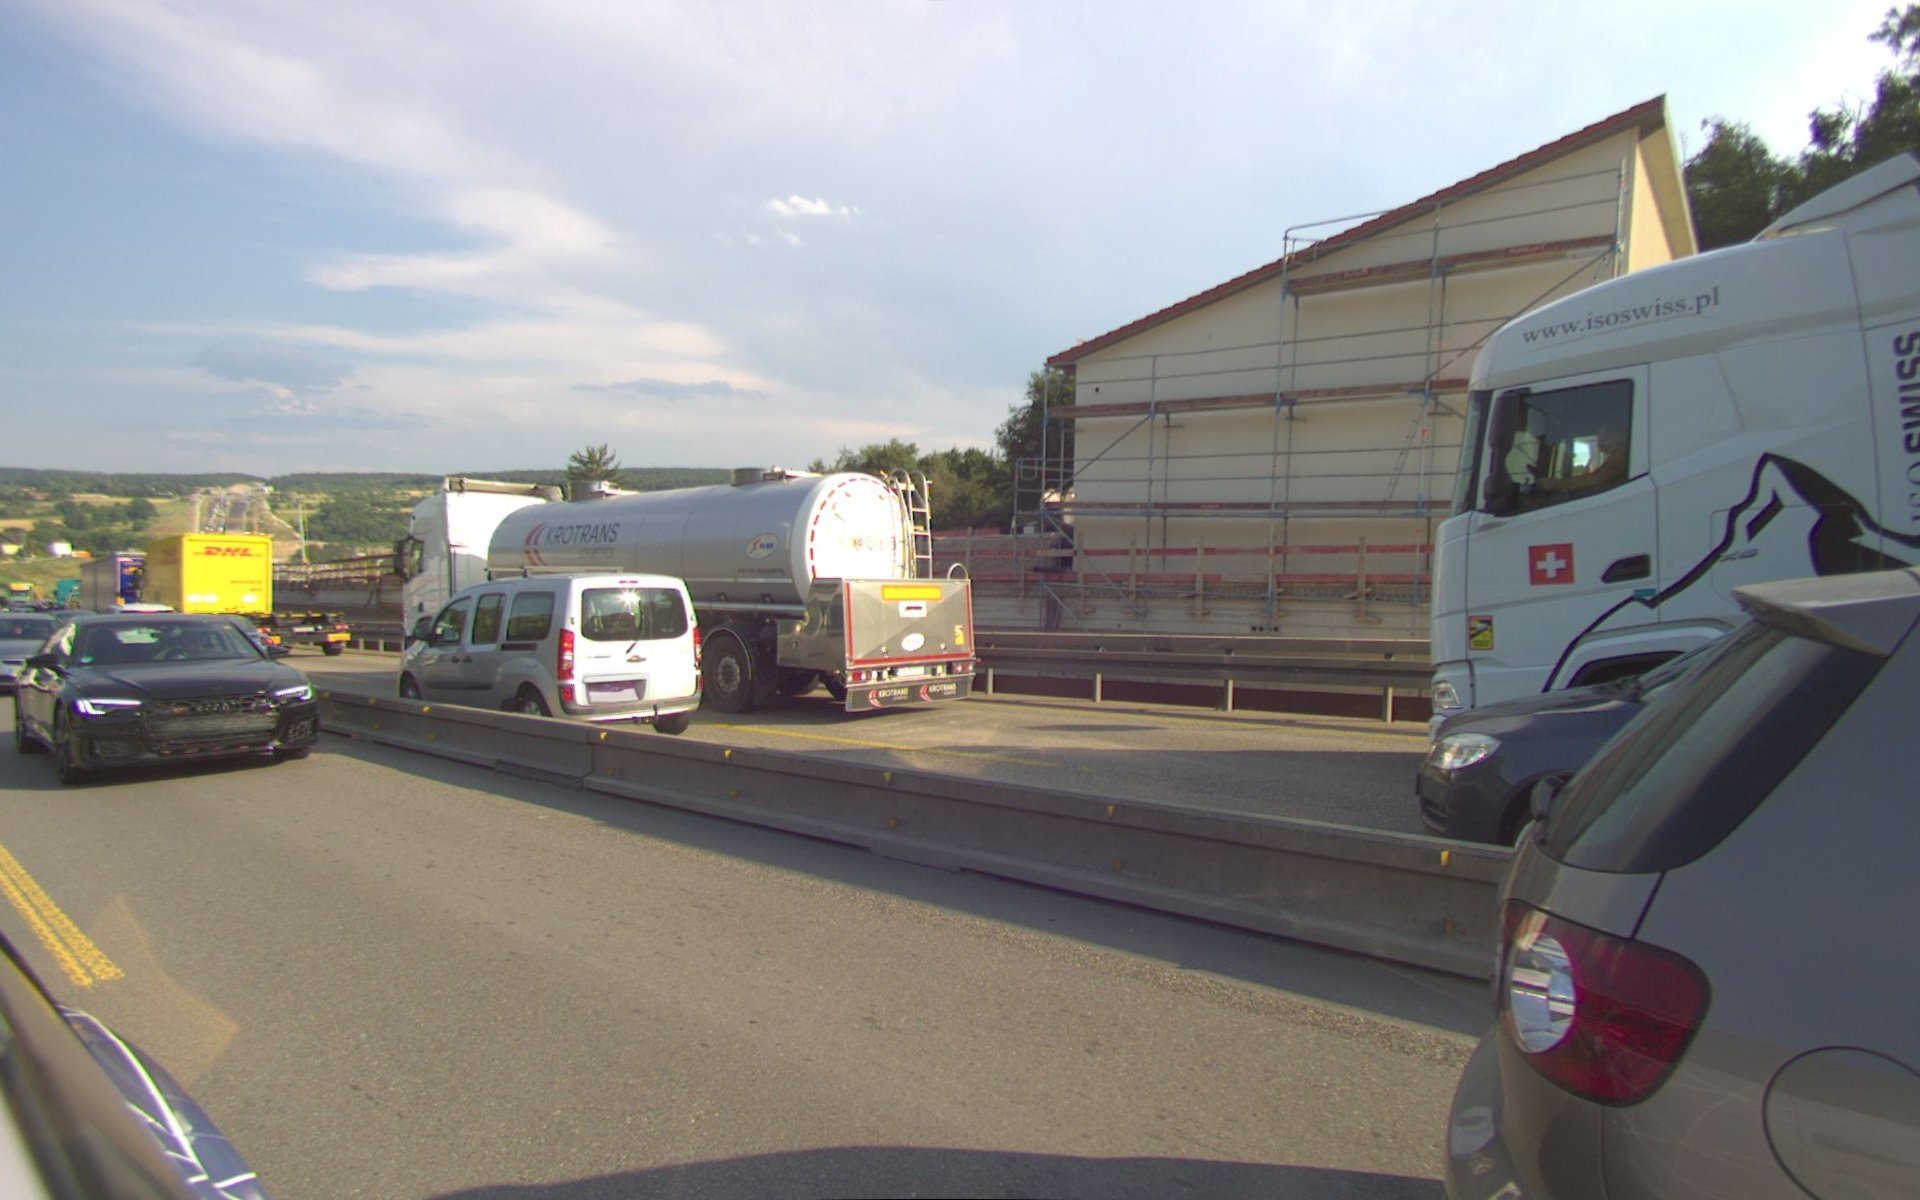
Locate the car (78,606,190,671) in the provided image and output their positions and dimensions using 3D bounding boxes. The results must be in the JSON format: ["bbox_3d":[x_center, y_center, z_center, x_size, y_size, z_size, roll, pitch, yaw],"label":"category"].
[{"bbox_3d":[-23.312,1.029,28.506,4.560,1.660,1.826,0,-1,43],"label":"car"}]

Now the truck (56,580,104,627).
[{"bbox_3d":[-75.837,0.337,87.164,2.716,3.834,7.117,2,-1,-44],"label":"truck"}]

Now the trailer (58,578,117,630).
[{"bbox_3d":[-70.377,0.341,81.462,2.716,3.845,16.060,2,-1,-44],"label":"trailer"}]

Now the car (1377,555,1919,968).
[{"bbox_3d":[4.050,0.594,4.364,3.844,1.518,1.653,-1,-1,40],"label":"car"}]

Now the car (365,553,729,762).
[{"bbox_3d":[-4.906,0.576,11.632,4.860,1.931,1.814,-1,-1,40],"label":"car"}]

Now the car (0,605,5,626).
[{"bbox_3d":[-98.781,1.536,103.330,1.802,1.948,5.135,4,-2,-43],"label":"car"}]

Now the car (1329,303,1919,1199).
[{"bbox_3d":[2.577,0.551,0.577,4.144,1.599,1.684,1,0,40],"label":"car"}]

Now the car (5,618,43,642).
[{"bbox_3d":[-66.007,2.108,71.377,4.727,1.509,1.768,1,0,45],"label":"car"}]

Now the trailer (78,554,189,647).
[{"bbox_3d":[-43.221,-0.043,52.590,16.760,4.166,2.684,1,0,45],"label":"trailer"}]

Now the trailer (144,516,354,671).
[{"bbox_3d":[-24.552,-0.239,34.282,16.000,4.235,2.671,1,0,44],"label":"trailer"}]

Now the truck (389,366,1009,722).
[{"bbox_3d":[-5.480,-0.553,17.022,13.887,4.000,2.779,-1,0,41],"label":"truck"}]

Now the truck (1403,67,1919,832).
[{"bbox_3d":[6.468,-0.839,6.358,6.318,4.304,2.418,1,0,41],"label":"truck"}]

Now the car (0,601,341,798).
[{"bbox_3d":[-8.210,0.782,10.271,5.221,1.491,1.919,0,-1,43],"label":"car"}]

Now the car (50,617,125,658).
[{"bbox_3d":[-34.525,1.439,39.999,4.903,1.412,1.720,1,0,43],"label":"car"}]

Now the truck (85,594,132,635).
[{"bbox_3d":[-92.529,1.545,109.907,3.121,4.154,12.504,2,-1,-43],"label":"truck"}]

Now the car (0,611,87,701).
[{"bbox_3d":[-17.581,0.963,18.759,4.120,1.498,1.785,0,0,44],"label":"car"}]

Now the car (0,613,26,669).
[{"bbox_3d":[-27.087,1.106,27.734,3.999,1.452,1.799,-1,1,42],"label":"car"}]

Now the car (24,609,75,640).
[{"bbox_3d":[-47.875,1.259,53.210,4.293,1.519,1.697,1,0,44],"label":"car"}]

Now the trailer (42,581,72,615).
[{"bbox_3d":[-119.657,-0.285,134.106,2.876,4.499,7.162,0,0,-42],"label":"trailer"}]

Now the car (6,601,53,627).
[{"bbox_3d":[-56.200,0.844,61.082,4.617,1.464,1.777,1,0,44],"label":"car"}]

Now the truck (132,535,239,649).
[{"bbox_3d":[-30.741,-0.315,40.140,4.399,4.228,2.664,1,0,43],"label":"truck"}]

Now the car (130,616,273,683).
[{"bbox_3d":[-16.579,1.013,22.049,4.050,1.262,1.693,0,-1,41],"label":"car"}]
